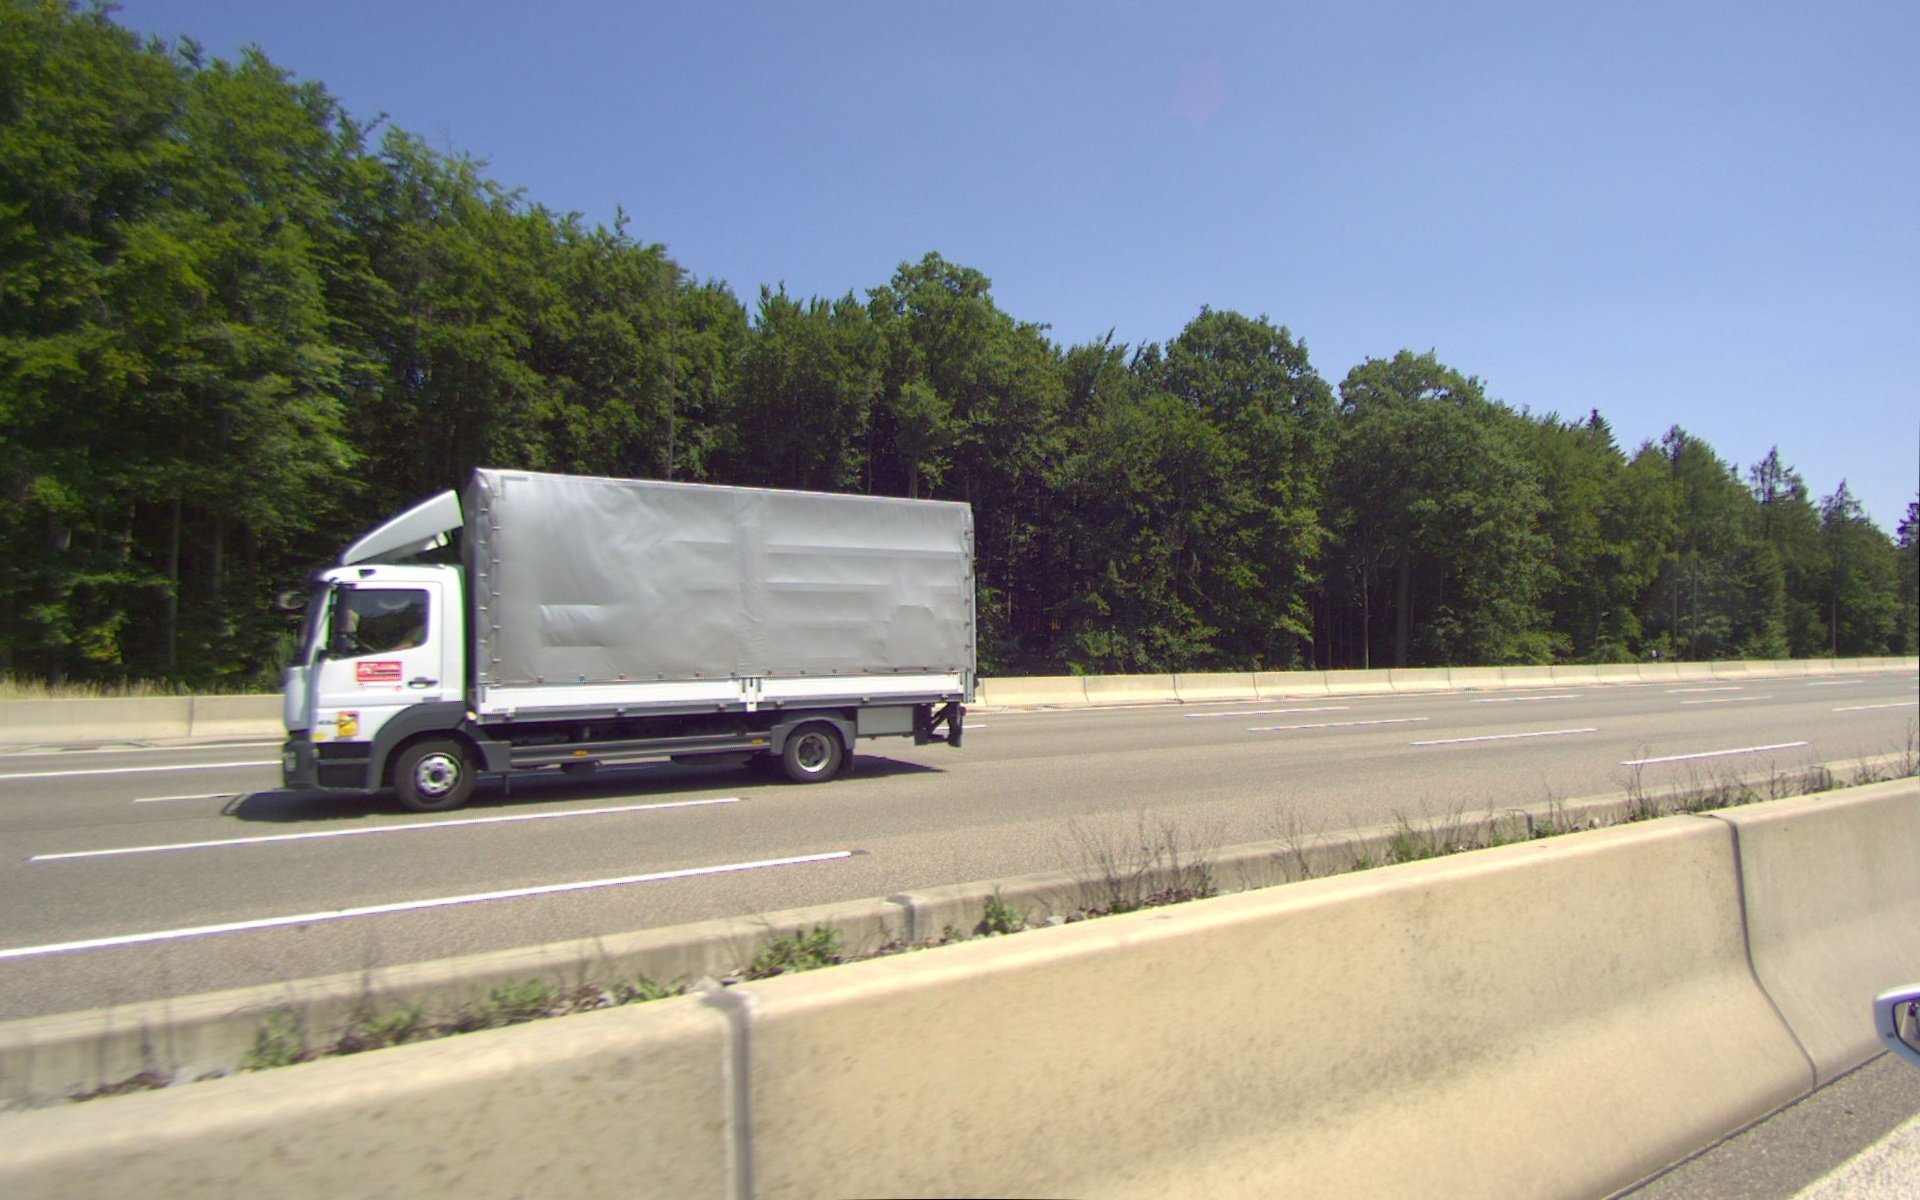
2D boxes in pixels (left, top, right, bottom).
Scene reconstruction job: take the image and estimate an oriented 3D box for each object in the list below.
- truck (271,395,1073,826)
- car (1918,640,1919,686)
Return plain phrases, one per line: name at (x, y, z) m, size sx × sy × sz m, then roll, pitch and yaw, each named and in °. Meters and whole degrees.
truck at (-3.130, 0.243, 13.104) m, size 9.357 × 4.065 × 2.845 m, roll 2°, pitch -2°, yaw -31°
car at (38.011, 2.332, 37.390) m, size 5.127 × 1.696 × 2.038 m, roll 1°, pitch -2°, yaw -30°
